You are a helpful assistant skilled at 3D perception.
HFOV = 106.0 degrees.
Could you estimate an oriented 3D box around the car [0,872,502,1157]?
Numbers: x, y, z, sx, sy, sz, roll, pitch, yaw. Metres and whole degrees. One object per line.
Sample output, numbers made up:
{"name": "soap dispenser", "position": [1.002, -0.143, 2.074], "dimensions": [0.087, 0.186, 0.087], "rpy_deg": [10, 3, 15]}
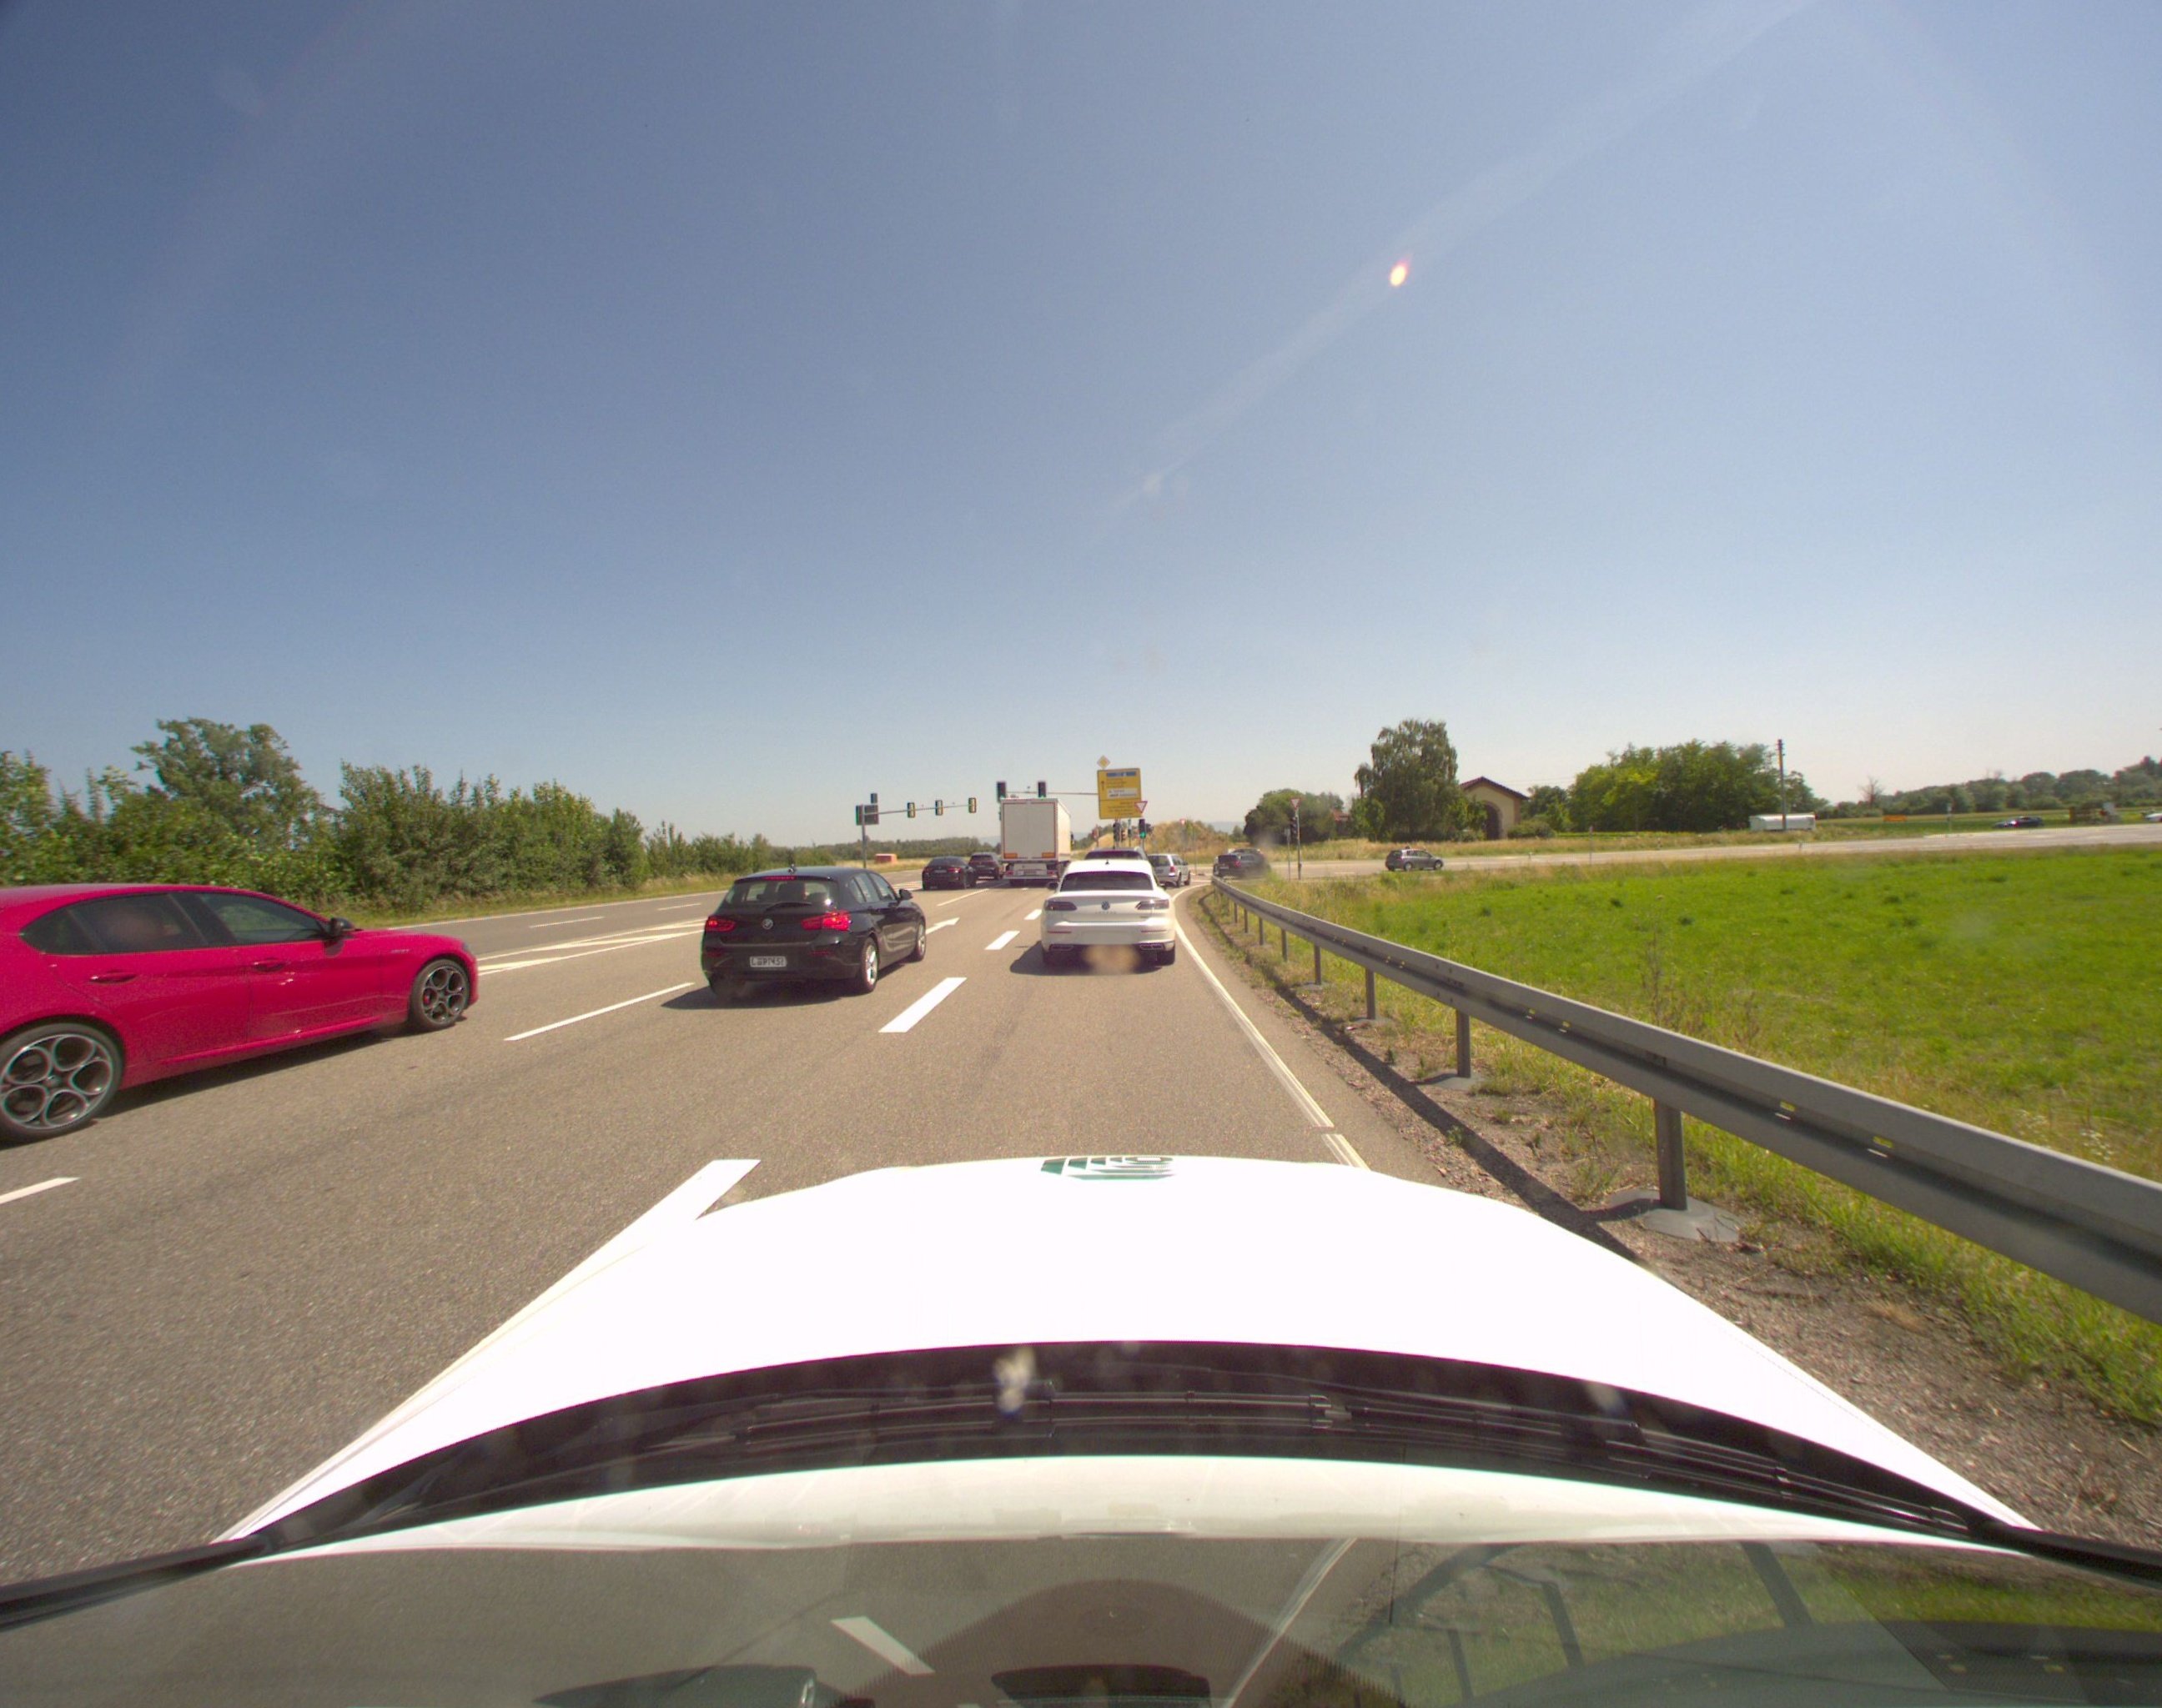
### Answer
{"name": "car", "position": [-6.693, 0.918, 5.867], "dimensions": [1.743, 1.421, 4.566], "rpy_deg": [-1, 0, 0]}

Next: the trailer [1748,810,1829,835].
{"name": "trailer", "position": [78.002, -3.434, 89.868], "dimensions": [6.330, 2.455, 2.691], "rpy_deg": [-3, 1, 6]}

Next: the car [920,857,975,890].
{"name": "car", "position": [-5.959, 0.848, 36.745], "dimensions": [1.803, 1.398, 4.020], "rpy_deg": [-1, 0, 0]}

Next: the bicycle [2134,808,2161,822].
{"name": "bicycle", "position": [121.316, -4.405, 92.075], "dimensions": [0.899, 1.372, 2.608], "rpy_deg": [0, -1, -9]}

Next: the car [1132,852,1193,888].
{"name": "car", "position": [3.512, 0.647, 34.475], "dimensions": [1.786, 1.429, 4.111], "rpy_deg": [-1, 0, 17]}

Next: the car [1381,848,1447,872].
{"name": "car", "position": [22.310, 0.380, 54.575], "dimensions": [3.883, 1.522, 1.793], "rpy_deg": [-1, 0, -21]}

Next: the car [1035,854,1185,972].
{"name": "car", "position": [0.438, 0.751, 12.457], "dimensions": [1.841, 1.433, 4.610], "rpy_deg": [-1, 0, 2]}

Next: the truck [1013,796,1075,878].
{"name": "truck", "position": [-2.097, -0.974, 48.874], "dimensions": [3.370, 4.542, 6.372], "rpy_deg": [-1, 0, 0]}

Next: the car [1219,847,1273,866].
{"name": "car", "position": [13.886, 0.208, 68.651], "dimensions": [4.240, 1.368, 1.778], "rpy_deg": [-3, 1, 4]}

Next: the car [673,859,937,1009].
{"name": "car", "position": [-3.159, 0.816, 10.370], "dimensions": [1.778, 1.430, 4.381], "rpy_deg": [-1, 0, 1]}

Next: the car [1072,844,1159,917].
{"name": "car", "position": [0.995, 0.616, 20.792], "dimensions": [1.925, 1.616, 4.385], "rpy_deg": [-1, 0, 6]}

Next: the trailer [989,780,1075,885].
{"name": "trailer", "position": [-2.214, -0.945, 42.156], "dimensions": [3.369, 4.542, 12.874], "rpy_deg": [-1, 0, 1]}

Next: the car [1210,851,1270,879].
{"name": "car", "position": [8.920, 0.601, 45.440], "dimensions": [1.782, 1.476, 4.442], "rpy_deg": [-1, 0, 32]}

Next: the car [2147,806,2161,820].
{"name": "car", "position": [110.718, -4.167, 81.880], "dimensions": [3.985, 1.332, 1.708], "rpy_deg": [-1, 2, 37]}

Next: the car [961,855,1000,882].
{"name": "car", "position": [-5.990, 0.837, 49.017], "dimensions": [1.803, 1.493, 4.020], "rpy_deg": [-1, 0, 0]}
